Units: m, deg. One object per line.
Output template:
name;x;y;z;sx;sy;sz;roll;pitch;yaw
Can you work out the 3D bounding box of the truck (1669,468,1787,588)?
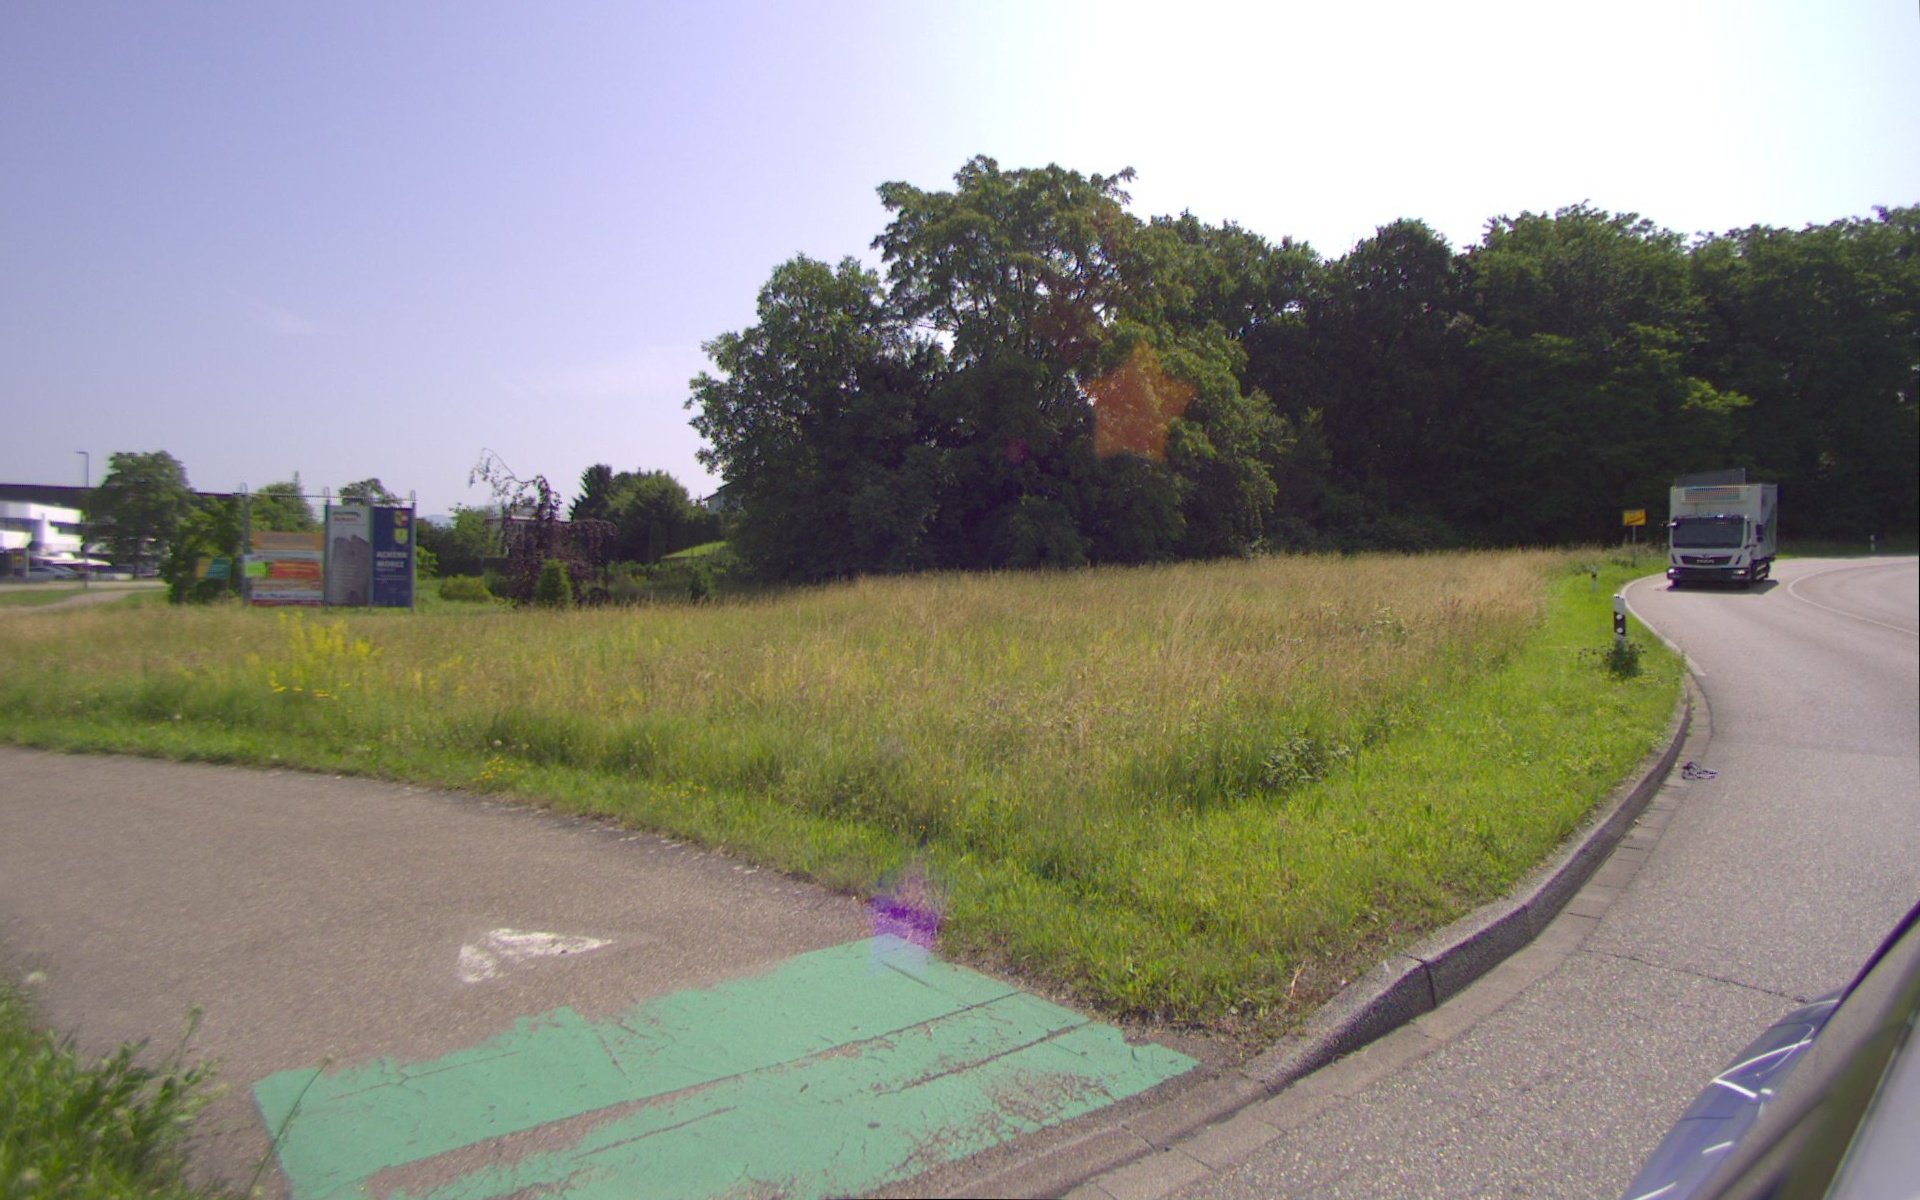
truck;28.332;-2.471;37.134;2.888;3.876;8.892;0;1;41
